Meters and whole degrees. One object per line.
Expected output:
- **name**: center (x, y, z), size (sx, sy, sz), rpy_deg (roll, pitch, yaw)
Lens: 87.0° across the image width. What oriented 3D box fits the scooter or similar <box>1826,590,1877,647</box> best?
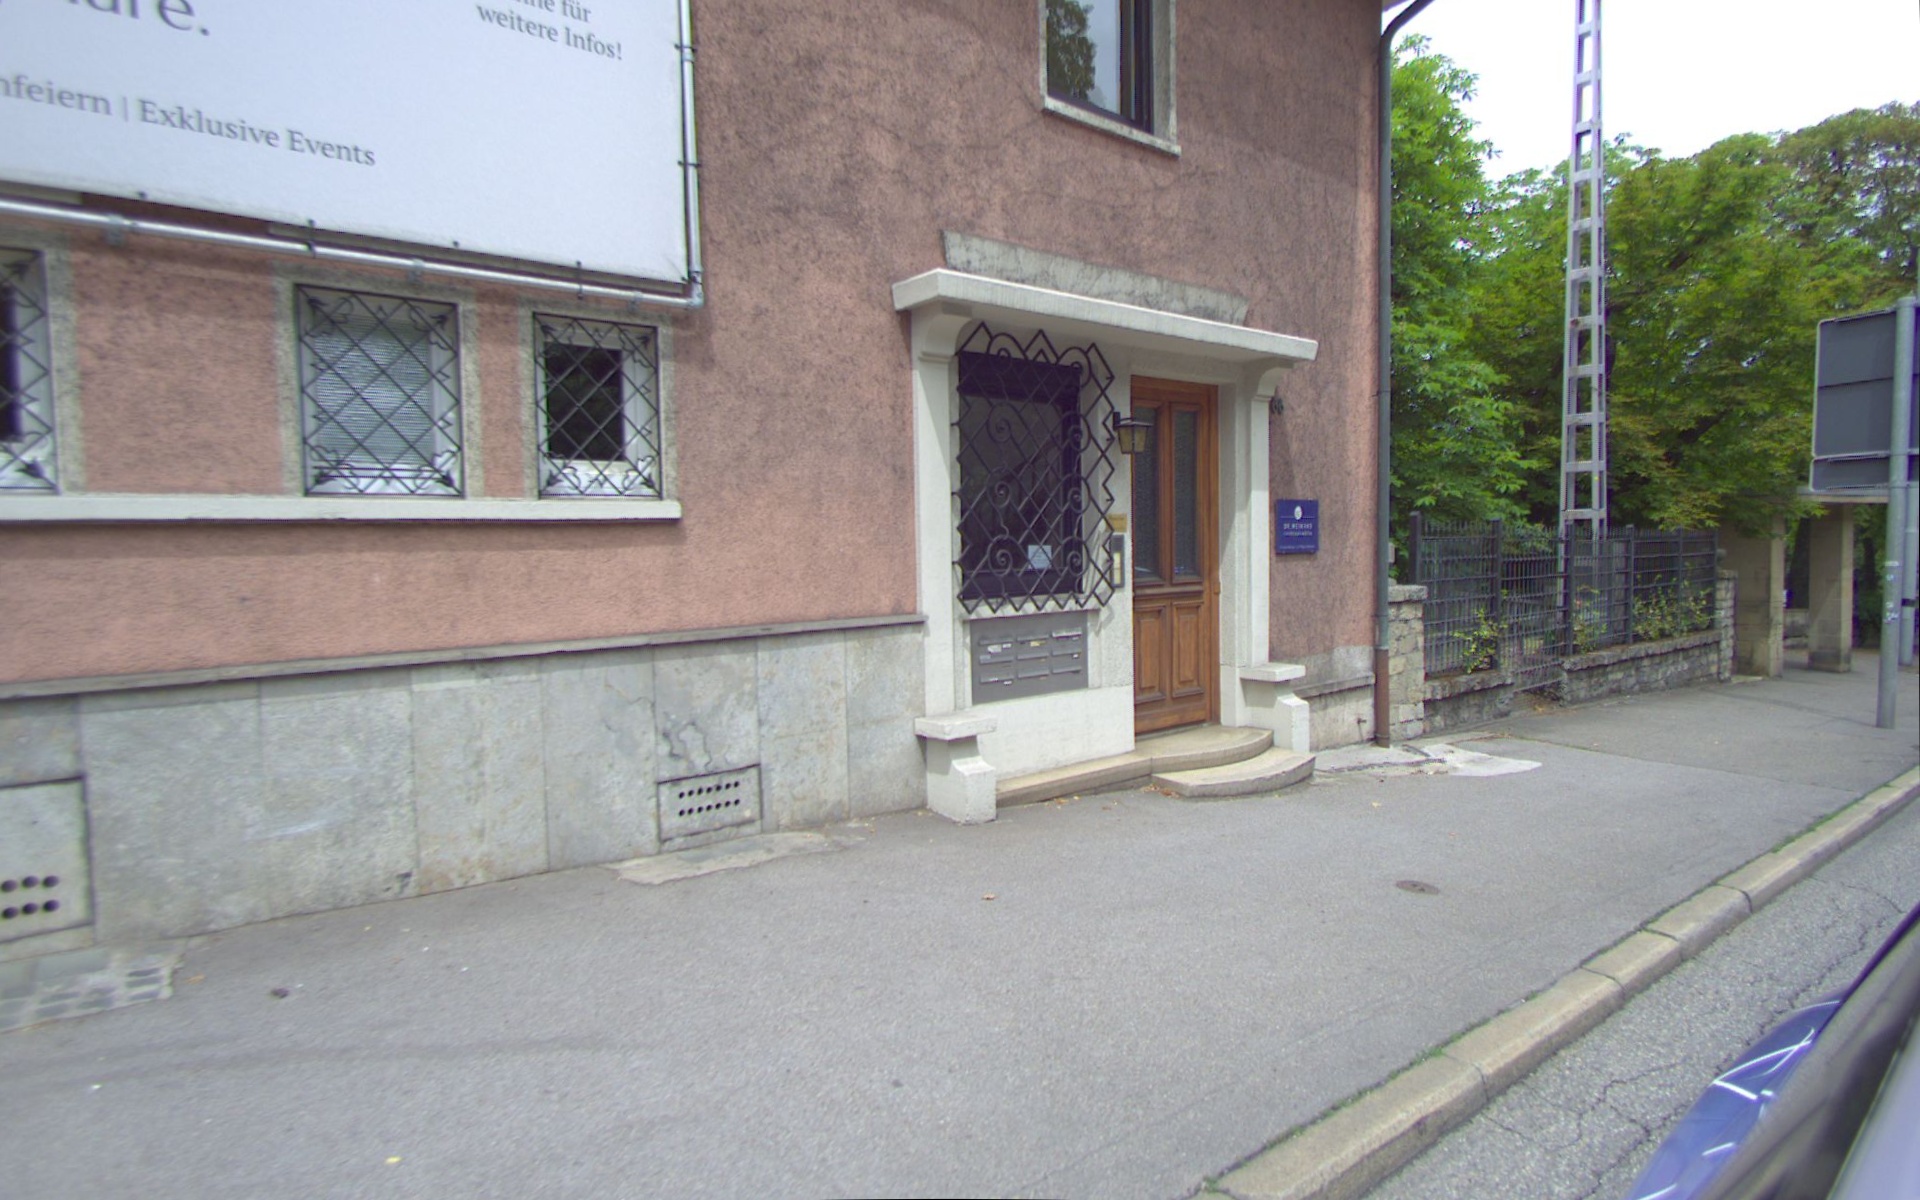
- **scooter or similar**: center (20.885, 0.420, 23.701), size (1.146, 1.275, 0.519), rpy_deg (0, 4, -33)
